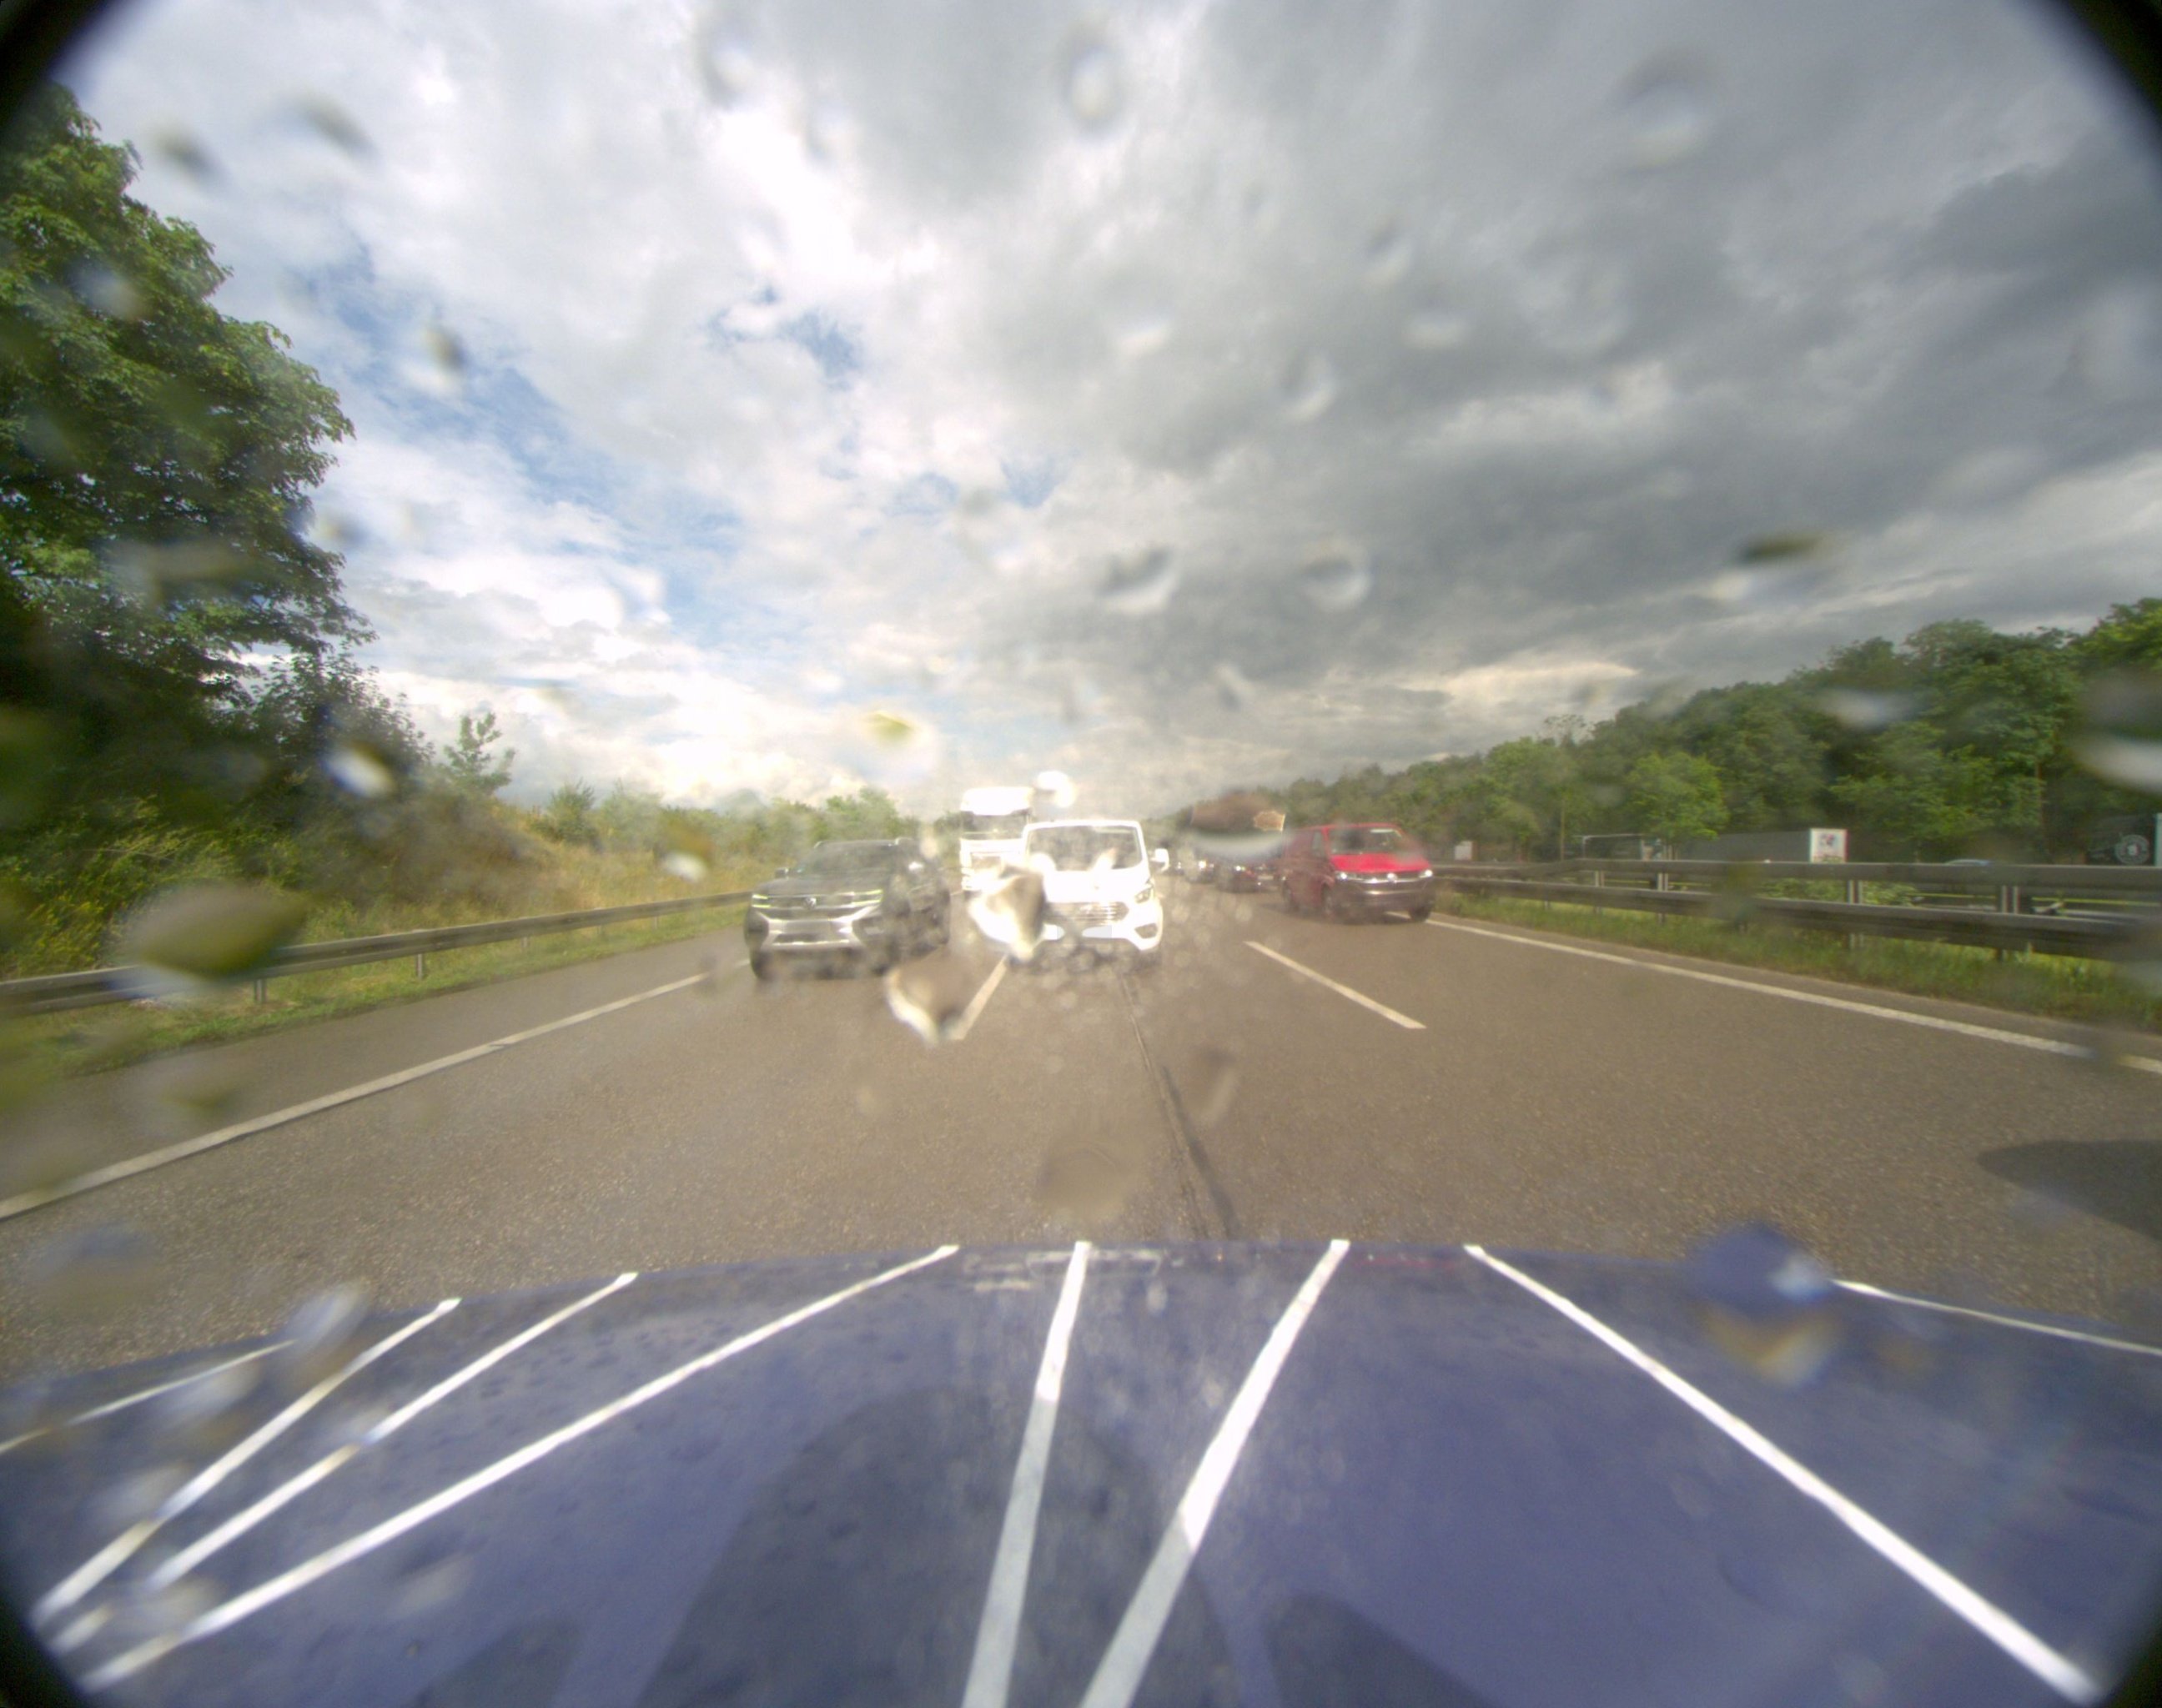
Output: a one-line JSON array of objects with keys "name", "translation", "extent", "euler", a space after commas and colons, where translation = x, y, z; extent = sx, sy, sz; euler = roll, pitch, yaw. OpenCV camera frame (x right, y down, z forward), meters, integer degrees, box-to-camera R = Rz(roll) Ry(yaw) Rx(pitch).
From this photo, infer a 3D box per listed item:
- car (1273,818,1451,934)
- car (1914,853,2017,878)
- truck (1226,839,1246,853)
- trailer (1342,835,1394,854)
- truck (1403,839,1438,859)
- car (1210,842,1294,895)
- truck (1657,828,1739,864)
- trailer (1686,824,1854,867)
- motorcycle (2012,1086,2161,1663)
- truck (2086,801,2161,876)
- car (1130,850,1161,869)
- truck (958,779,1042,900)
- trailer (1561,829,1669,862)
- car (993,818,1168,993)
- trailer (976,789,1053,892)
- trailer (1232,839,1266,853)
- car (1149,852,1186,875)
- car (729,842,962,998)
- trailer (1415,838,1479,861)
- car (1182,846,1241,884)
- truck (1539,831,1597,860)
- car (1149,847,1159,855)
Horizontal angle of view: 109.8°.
[{"name": "car", "translation": [5.554, 0.375, 15.783], "extent": [1.895, 1.973, 4.750], "euler": [-2, 0, 0]}, {"name": "car", "translation": [54.618, 0.684, 47.031], "extent": [1.899, 1.494, 4.001], "euler": [0, 1, 4]}, {"name": "truck", "translation": [40.431, -2.065, 197.900], "extent": [2.700, 3.462, 6.332], "euler": [0, 1, -14]}, {"name": "trailer", "translation": [52.788, -1.731, 140.316], "extent": [3.086, 3.253, 13.400], "euler": [0, 1, -6]}, {"name": "truck", "translation": [55.078, -0.810, 123.338], "extent": [3.182, 3.237, 5.389], "euler": [0, 1, -2]}, {"name": "car", "translation": [5.792, 0.437, 26.300], "extent": [1.895, 1.660, 4.294], "euler": [-2, 1, 0]}, {"name": "truck", "translation": [56.181, -0.721, 69.349], "extent": [3.049, 3.166, 5.597], "euler": [0, 1, 2]}, {"name": "trailer", "translation": [55.907, -0.657, 62.407], "extent": [3.026, 3.174, 12.174], "euler": [0, 1, 2]}, {"name": "motorcycle", "translation": [2.529, 1.083, 0.773], "extent": [0.678, 1.080, 1.981], "euler": [-2, 1, -3]}, {"name": "truck", "translation": [53.005, -0.733, 36.604], "extent": [2.167, 3.599, 5.581], "euler": [0, 1, 8]}, {"name": "car", "translation": [4.753, 0.374, 56.431], "extent": [1.888, 1.228, 4.505], "euler": [-2, 1, 0]}, {"name": "truck", "translation": [-2.938, -0.516, 28.999], "extent": [2.460, 4.080, 5.332], "euler": [-2, 1, 0]}, {"name": "trailer", "translation": [56.223, -0.868, 80.680], "extent": [2.611, 3.253, 12.646], "euler": [0, 1, 0]}, {"name": "car", "translation": [0.000, 0.583, 11.448], "extent": [1.985, 1.973, 5.168], "euler": [-2, 0, 0]}, {"name": "trailer", "translation": [-2.923, -0.624, 36.868], "extent": [2.451, 4.095, 12.214], "euler": [-2, 1, 0]}, {"name": "trailer", "translation": [42.115, -2.003, 191.044], "extent": [2.707, 3.492, 13.403], "euler": [0, 1, -14]}, {"name": "car", "translation": [5.060, 0.540, 45.005], "extent": [1.675, 1.228, 3.999], "euler": [-2, 1, 0]}, {"name": "car", "translation": [-3.190, 0.755, 11.608], "extent": [1.831, 1.793, 5.304], "euler": [-1, 1, 0]}, {"name": "trailer", "translation": [55.396, -0.701, 115.695], "extent": [3.193, 3.253, 12.643], "euler": [0, 1, -2]}, {"name": "car", "translation": [5.725, 0.444, 33.786], "extent": [1.895, 1.558, 4.053], "euler": [-2, 1, 0]}, {"name": "truck", "translation": [56.222, -0.954, 87.906], "extent": [2.582, 3.232, 6.535], "euler": [0, 1, 0]}, {"name": "car", "translation": [20.304, -0.869, 212.004], "extent": [2.000, 2.002, 3.996], "euler": [0, 1, -9]}]
